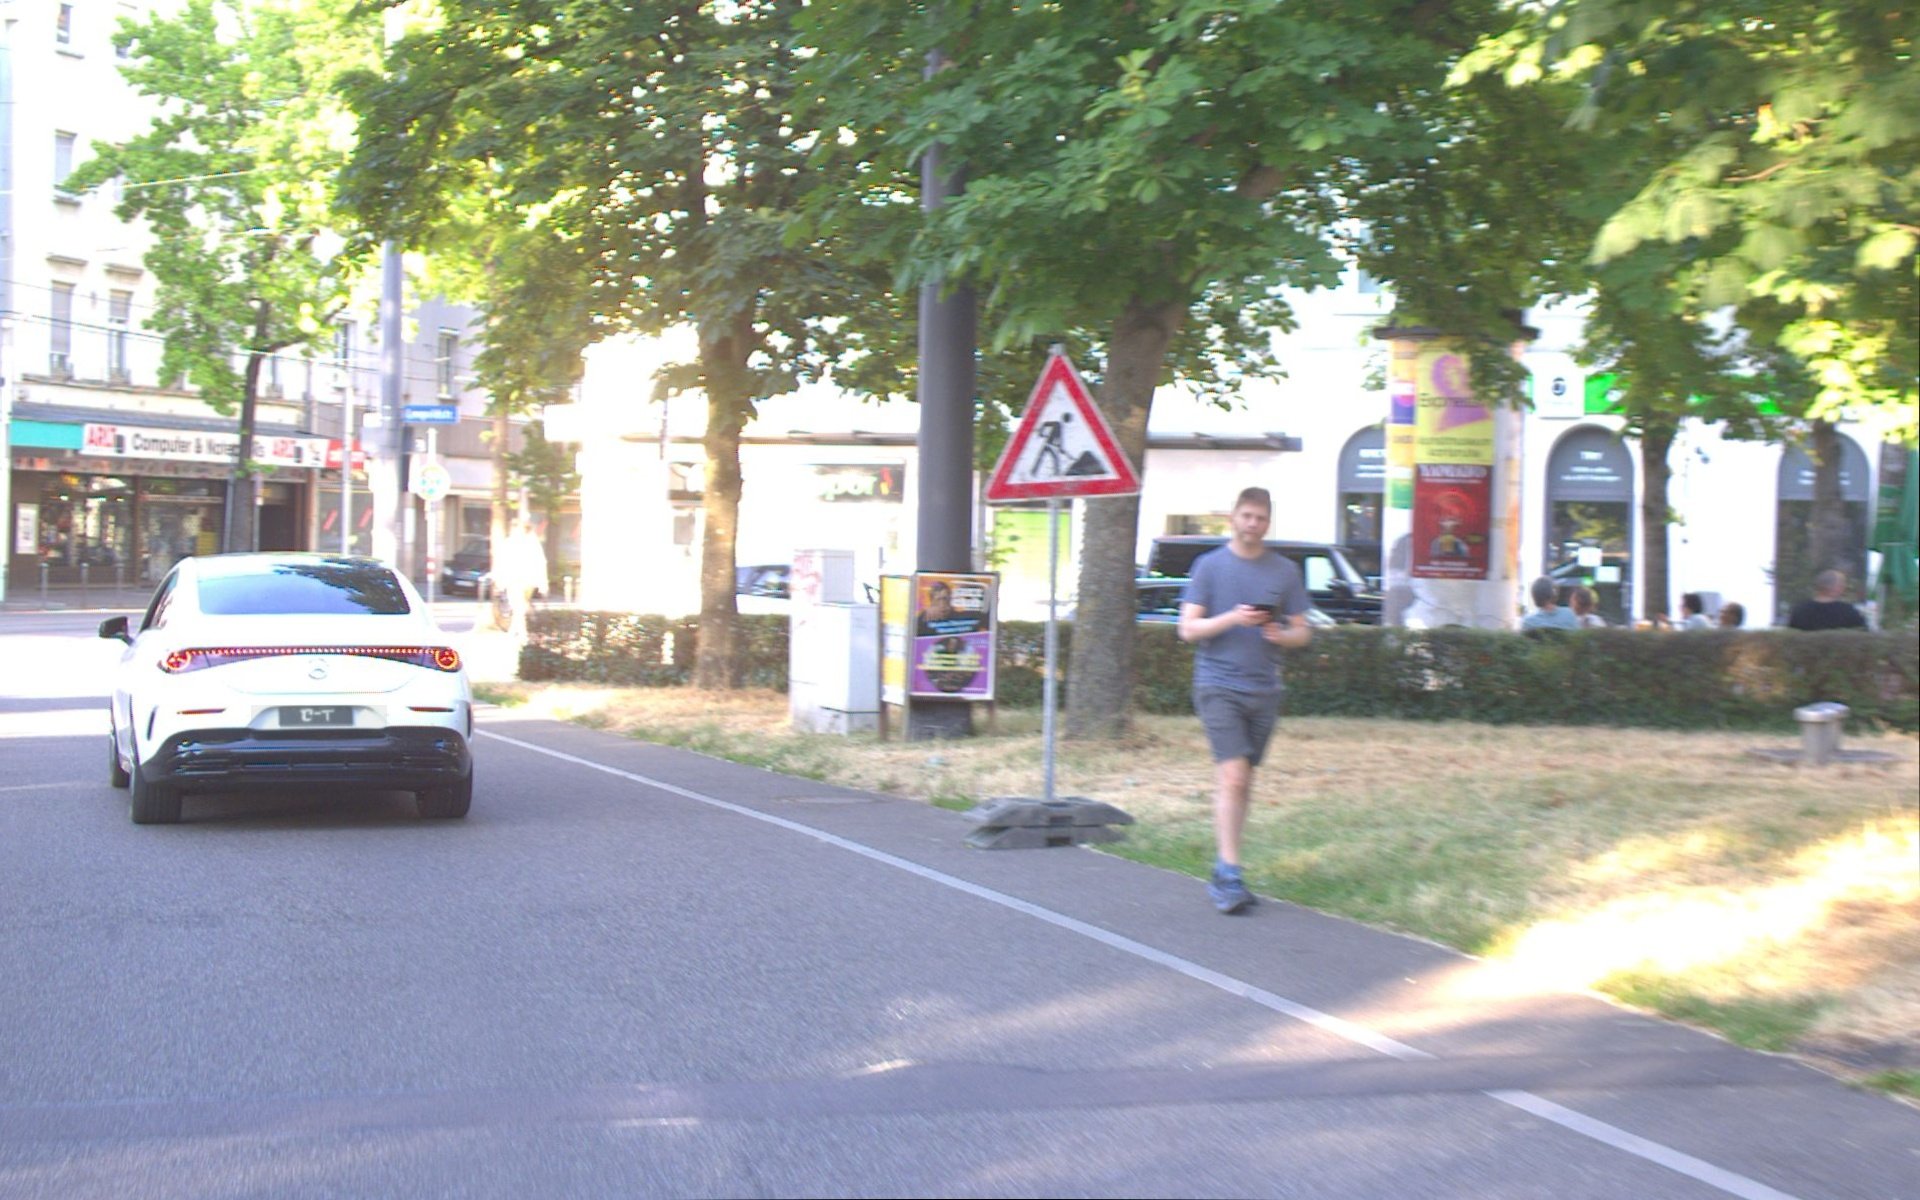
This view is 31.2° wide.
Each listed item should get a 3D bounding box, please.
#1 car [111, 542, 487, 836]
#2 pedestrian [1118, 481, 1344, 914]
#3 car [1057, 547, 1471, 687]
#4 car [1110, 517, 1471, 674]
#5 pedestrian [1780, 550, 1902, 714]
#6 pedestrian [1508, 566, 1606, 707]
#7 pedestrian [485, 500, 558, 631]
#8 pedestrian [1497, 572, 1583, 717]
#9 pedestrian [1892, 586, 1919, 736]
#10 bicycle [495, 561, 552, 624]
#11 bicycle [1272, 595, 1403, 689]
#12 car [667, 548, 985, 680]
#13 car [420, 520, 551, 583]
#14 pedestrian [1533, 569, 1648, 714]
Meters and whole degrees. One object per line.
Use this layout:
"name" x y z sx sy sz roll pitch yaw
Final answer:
"car" -3.884 0.426 19.704 1.867 1.464 4.044 0 1 -14
"pedestrian" 1.122 0.389 14.246 0.641 1.737 0.589 1 1 -37
"car" 3.652 0.182 41.189 4.662 1.508 1.738 2 1 16
"car" 4.467 -0.086 46.342 4.501 1.957 2.022 2 1 16
"pedestrian" 7.440 0.263 29.015 0.731 1.351 1.013 1 0 30
"pedestrian" 5.450 0.322 31.366 0.778 1.238 0.988 2 1 14
"pedestrian" -6.854 -0.537 53.788 0.841 2.007 0.846 2 0 12
"pedestrian" 5.078 0.380 30.083 0.567 1.240 0.612 1 0 27
"pedestrian" 8.380 0.541 28.989 0.662 1.238 0.950 6 2 30
"bicycle" -7.591 -0.127 59.813 0.354 1.073 1.698 2 0 14
"bicycle" 3.852 0.429 35.035 0.555 0.926 1.526 2 1 40
"car" -1.656 0.155 42.910 3.568 1.508 1.738 2 1 16
"car" -13.039 -1.328 94.730 1.963 1.634 3.996 2 1 18
"pedestrian" 6.030 0.386 32.899 0.949 1.279 0.663 6 1 9
